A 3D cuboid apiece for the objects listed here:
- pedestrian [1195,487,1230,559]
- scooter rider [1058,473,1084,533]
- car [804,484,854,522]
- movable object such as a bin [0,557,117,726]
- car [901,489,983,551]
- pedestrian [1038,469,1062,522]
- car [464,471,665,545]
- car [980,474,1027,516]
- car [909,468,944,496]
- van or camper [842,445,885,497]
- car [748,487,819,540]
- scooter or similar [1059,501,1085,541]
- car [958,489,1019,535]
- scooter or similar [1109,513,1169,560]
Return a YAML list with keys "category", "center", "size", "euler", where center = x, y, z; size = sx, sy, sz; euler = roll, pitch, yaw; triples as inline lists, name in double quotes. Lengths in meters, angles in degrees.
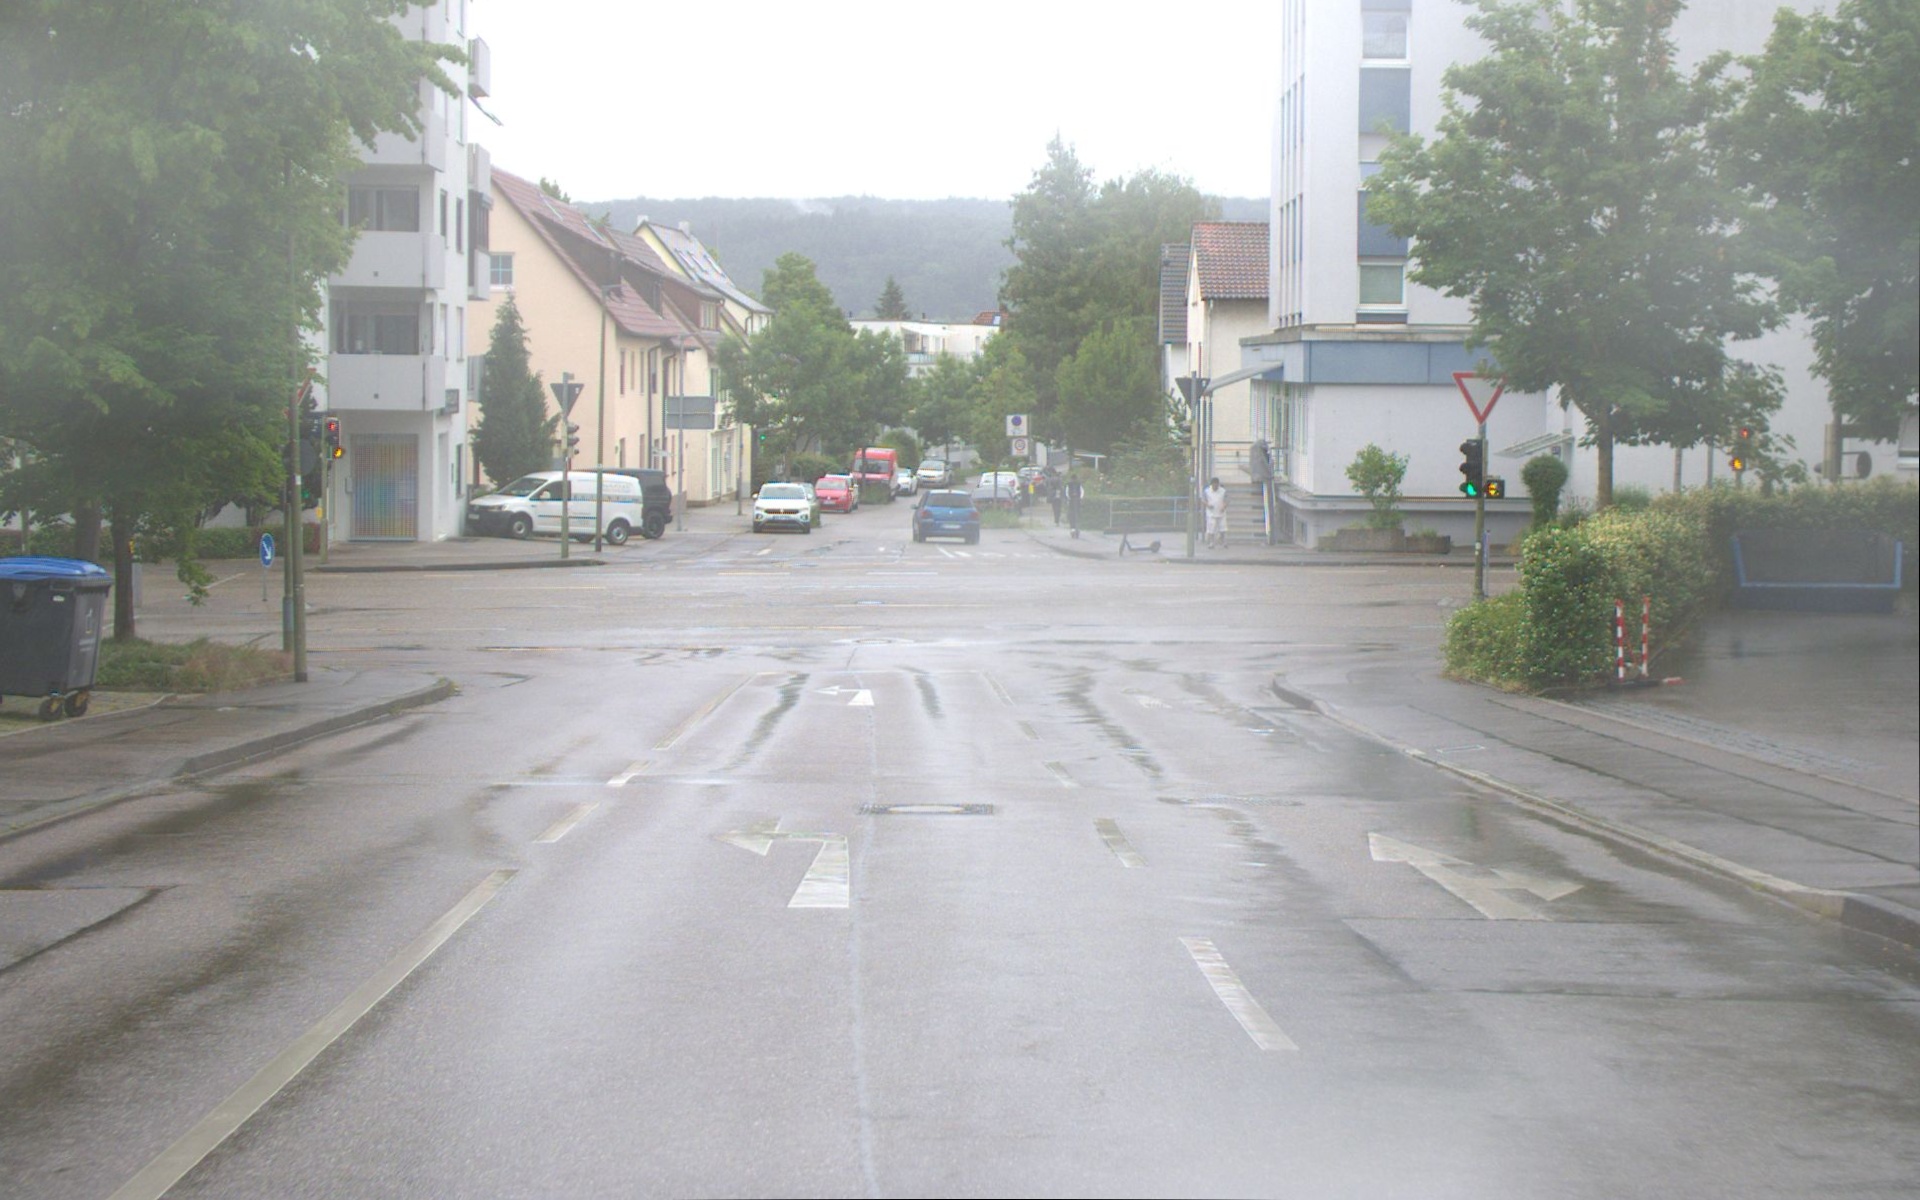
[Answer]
- category: "pedestrian"
  center: [5.938, -1.814, 80.880]
  size: [0.647, 1.641, 0.526]
  euler: [3, 1, -6]
- category: "scooter rider"
  center: [3.342, -2.921, 103.564]
  size: [0.752, 1.789, 0.673]
  euler: [-1, 2, 2]
- category: "car"
  center: [-5.533, -4.118, 145.449]
  size: [1.901, 1.553, 4.192]
  euler: [-1, 2, 0]
- category: "movable object such as a bin"
  center: [-7.742, 0.331, 28.723]
  size: [1.071, 1.343, 1.319]
  euler: [2, 1, -2]
- category: "car"
  center: [-0.531, -2.273, 97.173]
  size: [1.993, 1.678, 4.001]
  euler: [-1, 2, -5]
- category: "pedestrian"
  center: [3.227, -3.765, 123.706]
  size: [0.745, 1.842, 0.526]
  euler: [3, 1, -3]
- category: "car"
  center: [-10.209, -2.391, 88.893]
  size: [4.830, 1.829, 1.999]
  euler: [-2, 2, -38]
- category: "car"
  center: [1.808, -4.422, 144.620]
  size: [1.901, 1.739, 4.192]
  euler: [-1, 2, 0]
- category: "car"
  center: [-1.902, -6.696, 195.654]
  size: [1.901, 1.553, 4.192]
  euler: [-1, 2, 0]
- category: "van or camper"
  center: [-4.707, -6.290, 168.007]
  size: [1.901, 2.504, 4.239]
  euler: [-1, 2, 0]
- category: "car"
  center: [-5.569, -2.757, 109.003]
  size: [1.993, 1.620, 4.192]
  euler: [-1, 2, 0]
- category: "scooter or similar"
  center: [3.366, -2.380, 103.622]
  size: [0.757, 1.167, 1.314]
  euler: [-1, 2, 1]
- category: "car"
  center: [1.008, -3.148, 122.687]
  size: [2.146, 1.583, 4.128]
  euler: [-1, 2, 0]
- category: "scooter or similar"
  center: [4.147, -1.477, 79.680]
  size: [1.268, 1.077, 0.877]
  euler: [-1, 2, -4]
